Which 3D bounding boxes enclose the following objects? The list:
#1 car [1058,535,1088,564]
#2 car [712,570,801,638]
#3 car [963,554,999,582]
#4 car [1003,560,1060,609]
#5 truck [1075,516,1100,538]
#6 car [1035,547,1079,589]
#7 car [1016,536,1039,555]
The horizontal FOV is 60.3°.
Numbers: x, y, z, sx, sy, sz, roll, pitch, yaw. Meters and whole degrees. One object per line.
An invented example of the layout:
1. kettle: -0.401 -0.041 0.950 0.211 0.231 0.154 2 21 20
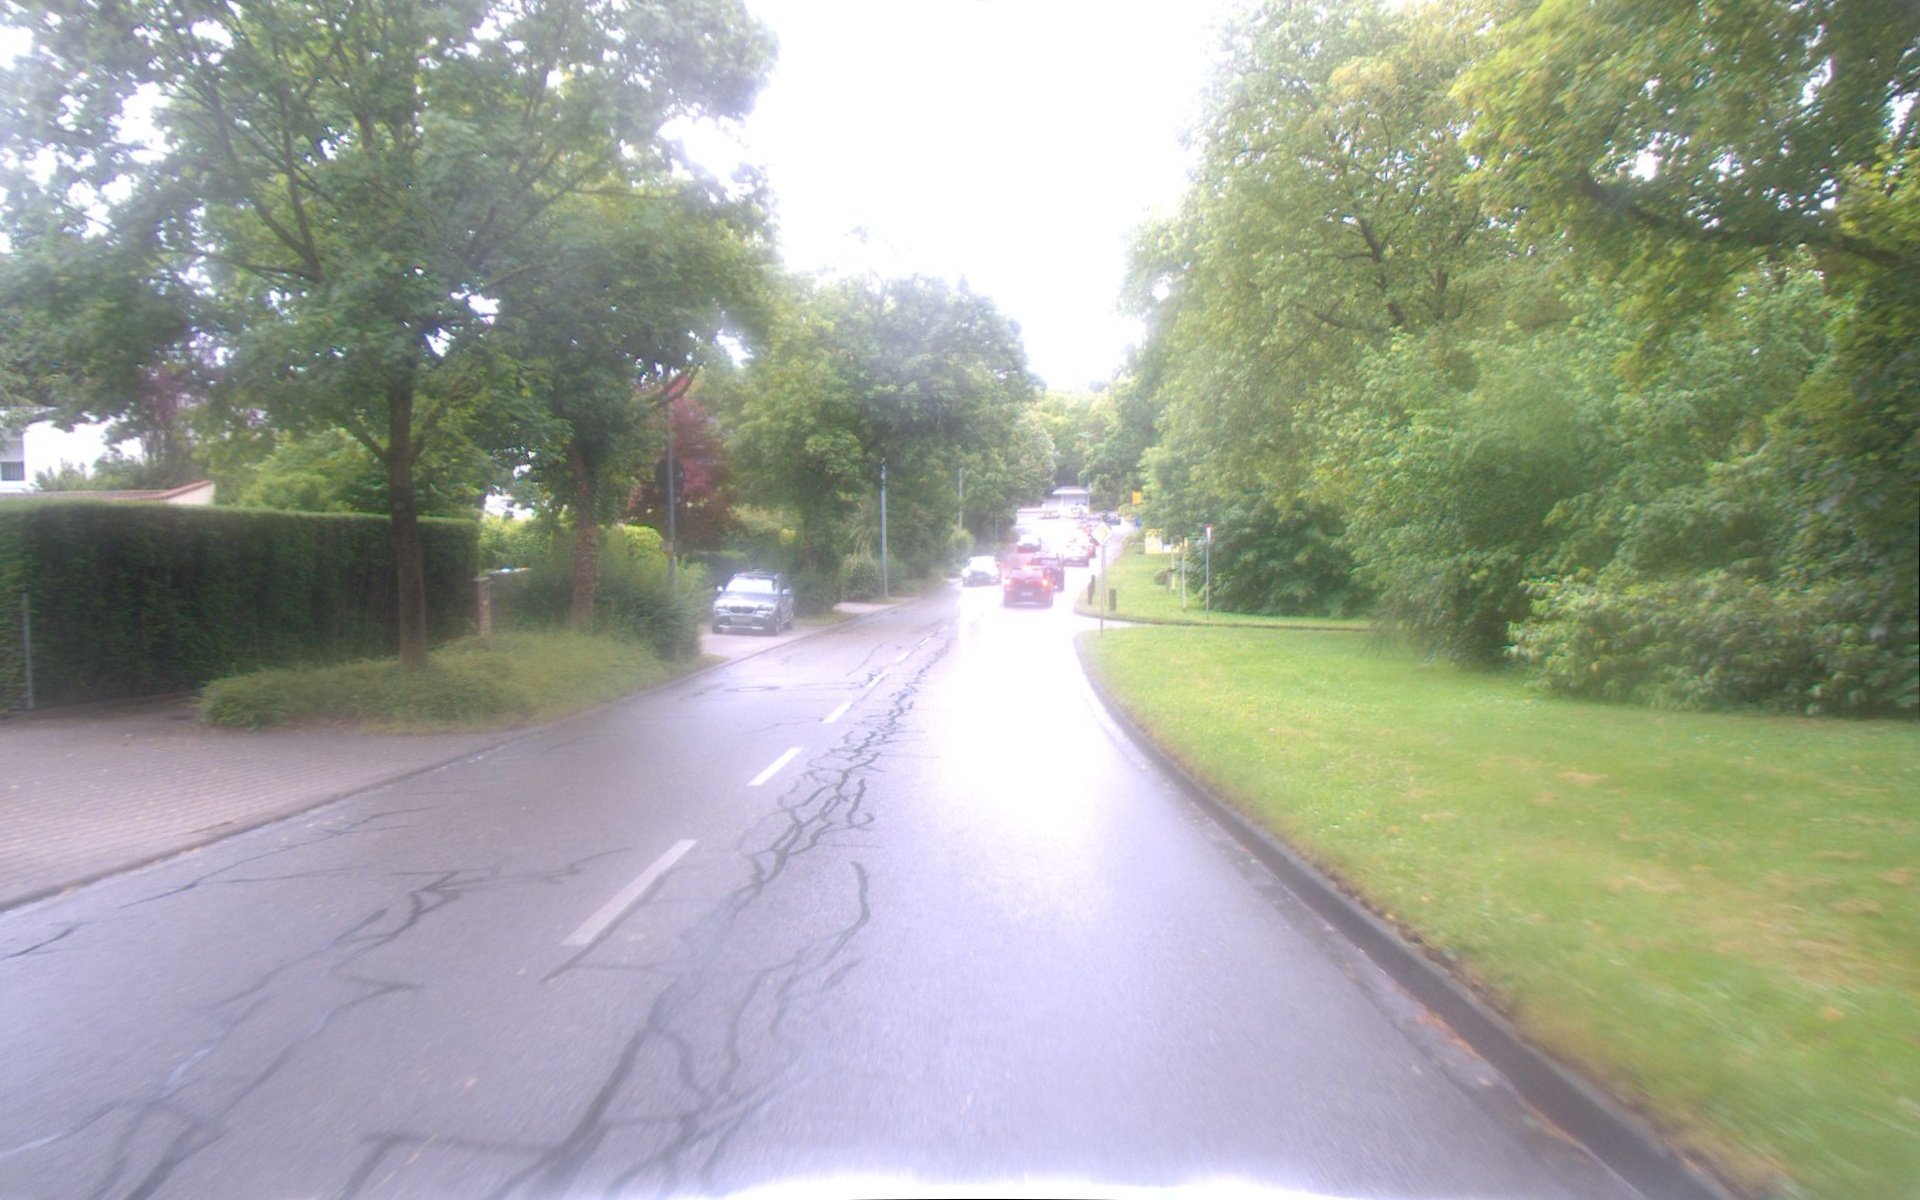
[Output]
1. car: 7.705 -3.422 112.417 1.816 1.815 4.005 0 3 7
2. car: -5.377 0.066 44.128 1.629 1.568 4.286 3 2 2
3. car: 1.098 -1.660 85.840 1.654 1.420 4.493 -1 1 3
4. car: 2.681 -0.596 61.337 1.761 1.541 3.758 3 4 7
5. truck: 12.693 -7.289 163.848 2.365 2.039 5.156 -1 4 5
6. car: 4.630 -1.530 78.529 1.816 1.815 4.005 0 3 7
7. car: 5.554 -4.461 135.965 1.717 1.386 4.329 -2 3 4
